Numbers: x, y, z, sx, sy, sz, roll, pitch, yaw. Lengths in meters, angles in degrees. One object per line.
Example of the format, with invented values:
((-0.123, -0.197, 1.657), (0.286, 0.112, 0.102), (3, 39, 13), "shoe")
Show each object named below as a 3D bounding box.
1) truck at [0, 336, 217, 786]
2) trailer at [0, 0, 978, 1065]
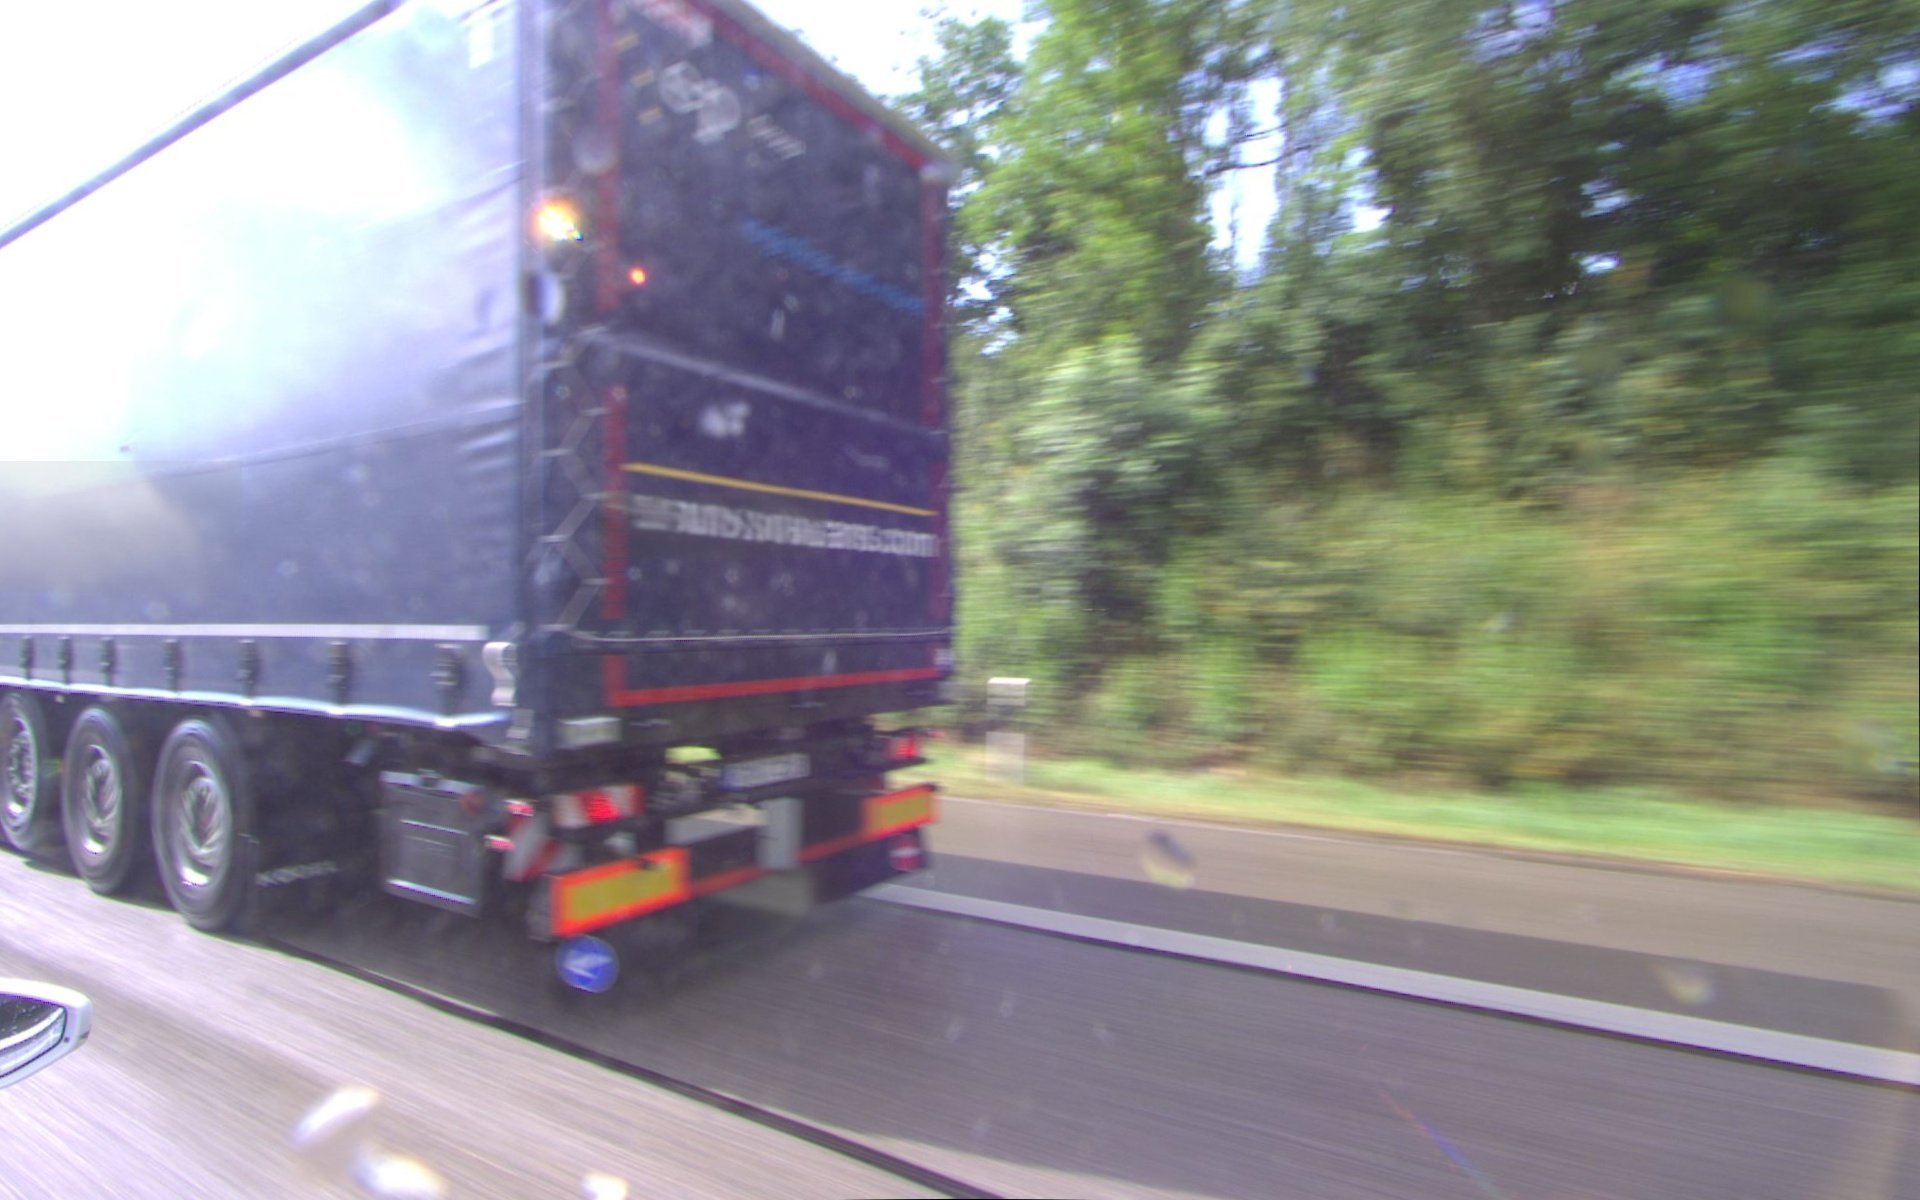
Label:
((-11.465, -0.272, 11.257), (7.187, 4.047, 2.602), (-1, -2, 32), "truck")
((-6.432, -0.391, 8.027), (13.865, 4.046, 2.630), (-1, -2, 33), "trailer")
